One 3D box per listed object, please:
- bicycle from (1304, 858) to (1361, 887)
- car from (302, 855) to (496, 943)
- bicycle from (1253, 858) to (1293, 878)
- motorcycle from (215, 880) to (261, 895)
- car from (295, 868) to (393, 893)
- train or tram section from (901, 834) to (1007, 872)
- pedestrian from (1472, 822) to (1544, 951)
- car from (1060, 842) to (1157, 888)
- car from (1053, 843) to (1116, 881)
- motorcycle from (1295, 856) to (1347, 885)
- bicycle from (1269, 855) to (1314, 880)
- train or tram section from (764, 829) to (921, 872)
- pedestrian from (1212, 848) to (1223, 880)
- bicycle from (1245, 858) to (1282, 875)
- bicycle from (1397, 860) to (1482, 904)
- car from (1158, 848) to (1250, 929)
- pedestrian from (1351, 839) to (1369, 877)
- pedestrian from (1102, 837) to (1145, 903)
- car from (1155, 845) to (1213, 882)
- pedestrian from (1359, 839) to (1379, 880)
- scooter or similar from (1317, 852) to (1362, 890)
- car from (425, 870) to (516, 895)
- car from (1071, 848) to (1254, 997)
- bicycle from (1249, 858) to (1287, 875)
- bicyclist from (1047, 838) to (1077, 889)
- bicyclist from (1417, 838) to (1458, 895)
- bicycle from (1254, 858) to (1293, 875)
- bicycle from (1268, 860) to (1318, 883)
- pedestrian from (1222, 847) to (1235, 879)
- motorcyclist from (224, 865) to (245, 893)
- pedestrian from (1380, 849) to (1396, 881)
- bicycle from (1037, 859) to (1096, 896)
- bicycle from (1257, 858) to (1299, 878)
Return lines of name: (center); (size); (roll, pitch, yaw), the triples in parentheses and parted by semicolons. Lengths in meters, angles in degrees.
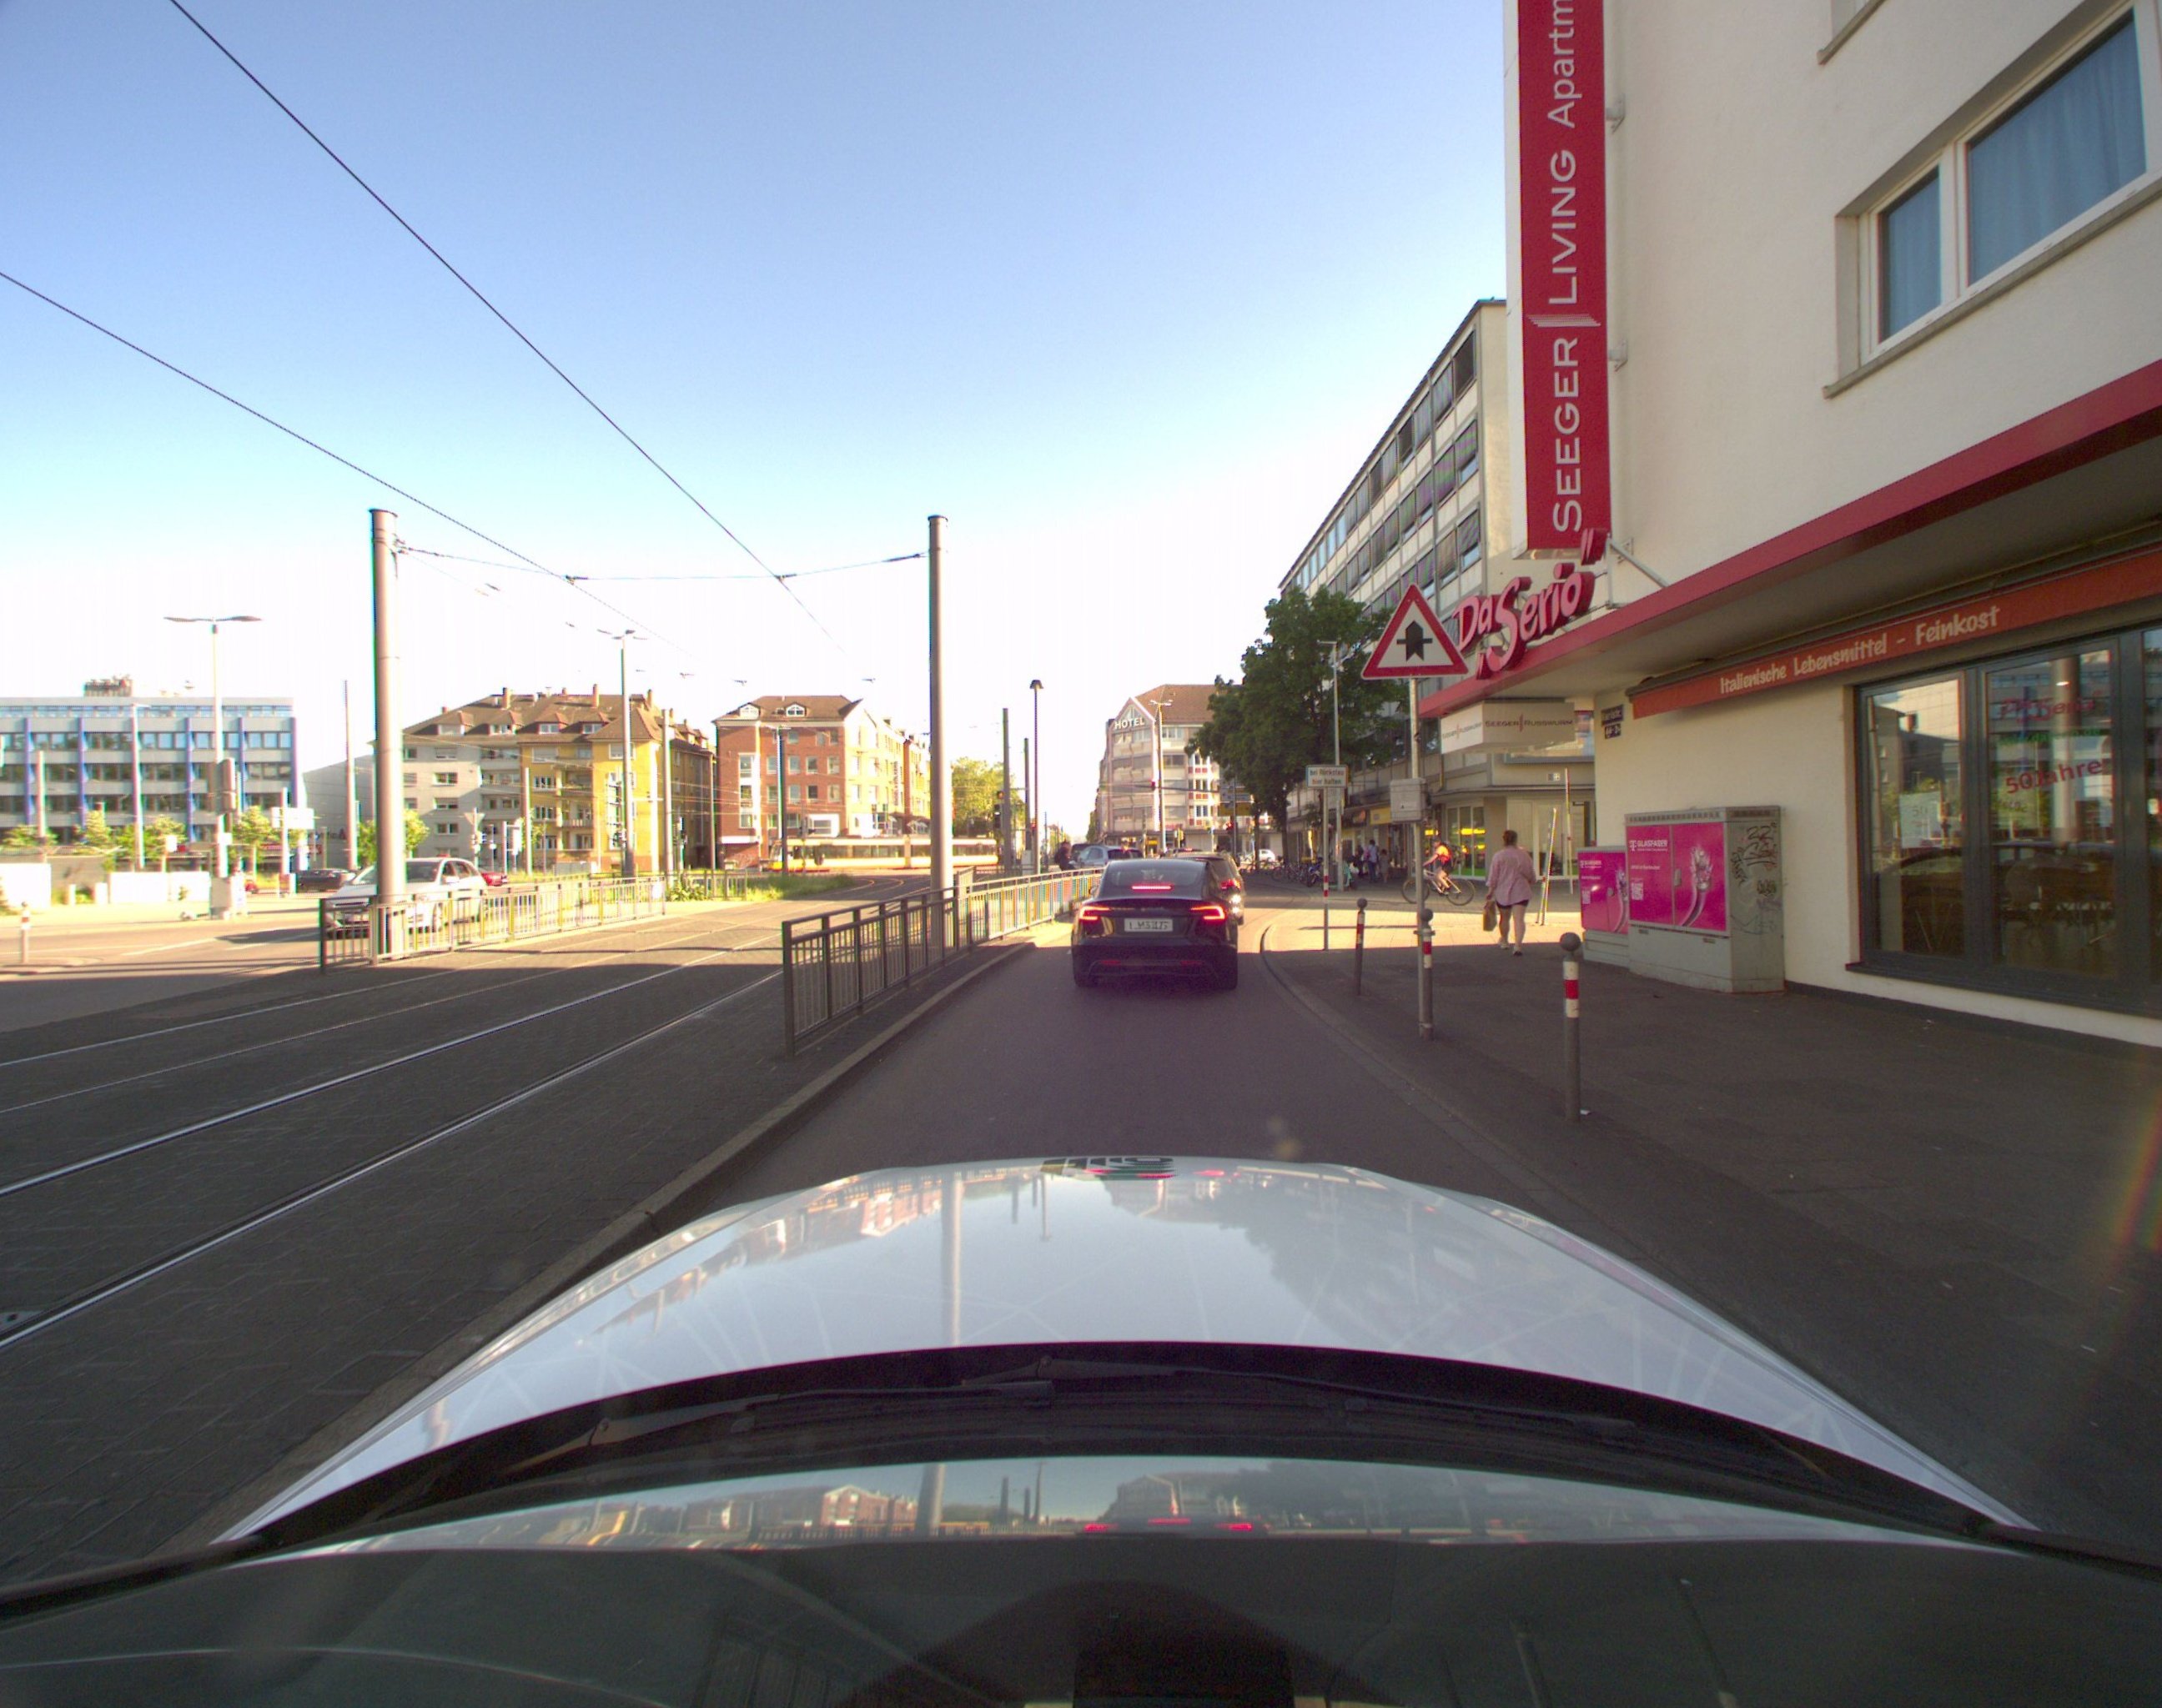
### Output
bicycle: (9.693, 0.707, 31.370); (2.044, 1.121, 0.483); (0, -1, 1)
car: (-14.356, 0.847, 17.471); (1.788, 1.568, 4.263); (-2, 1, -20)
bicycle: (9.759, 0.708, 41.466); (1.917, 0.950, 0.526); (0, 0, 1)
motorcycle: (-51.452, 2.032, 49.722); (1.997, 0.893, 0.559); (1, 0, -8)
car: (-46.045, 1.632, 50.966); (4.144, 1.490, 1.933); (0, 0, -9)
train or tram section: (-13.190, -0.055, 87.416); (2.612, 3.718, 15.477); (1, 0, 27)
pedestrian: (5.788, 0.420, 11.084); (0.810, 1.683, 0.718); (1, -1, 23)
car: (0.885, 0.369, 28.925); (1.792, 1.519, 4.184); (1, 0, -24)
car: (0.086, 0.311, 35.173); (1.826, 1.519, 4.200); (1, 0, -12)
motorcycle: (9.831, 0.669, 33.388); (1.984, 1.128, 0.596); (1, 0, 0)
bicycle: (9.665, 0.614, 37.459); (1.917, 1.097, 0.555); (0, 0, 1)
train or tram section: (-21.908, -0.214, 76.004); (14.268, 3.715, 2.651); (1, 0, -42)
pedestrian: (7.302, 0.543, 43.633); (0.559, 1.683, 0.751); (0, 0, 5)
bicycle: (9.973, 0.677, 44.604); (1.917, 0.890, 0.526); (0, 0, 1)
bicycle: (9.241, 0.695, 21.091); (1.957, 1.072, 0.778); (1, 0, 19)
car: (2.613, 0.606, 16.812); (1.643, 1.418, 4.012); (1, 1, 11)
pedestrian: (12.274, 0.193, 35.803); (0.529, 1.641, 0.607); (-2, -1, 2)
pedestrian: (1.155, 0.432, 22.150); (1.009, 1.742, 0.524); (1, -1, -25)
car: (4.469, 0.383, 35.799); (1.821, 1.519, 3.643); (1, 0, -5)
pedestrian: (11.546, 0.224, 32.654); (0.593, 1.641, 0.466); (-2, -1, 2)
scooter or similar: (9.186, 0.590, 28.955); (1.416, 1.317, 0.691); (0, -2, -25)
car: (-38.386, 1.756, 51.287); (4.144, 1.490, 1.933); (0, 0, -9)
car: (0.803, 0.698, 10.071); (1.843, 1.484, 3.786); (0, 0, -1)
bicycle: (10.009, 0.652, 43.618); (1.917, 0.890, 0.526); (0, 0, 1)
bicyclist: (-0.575, 0.290, 24.628); (0.835, 1.500, 0.558); (1, 0, -8)
bicyclist: (9.212, 0.317, 21.061); (0.900, 1.438, 0.631); (1, 0, 18)
bicycle: (10.054, 0.658, 42.585); (1.917, 0.888, 0.526); (0, 0, 1)
bicycle: (9.236, 0.764, 35.560); (2.044, 0.982, 0.483); (0, 0, 1)
pedestrian: (7.485, 0.467, 41.333); (0.626, 1.613, 0.643); (0, 0, 4)
motorcyclist: (-51.638, 1.516, 49.691); (0.781, 1.708, 0.387); (1, -1, -7)
pedestrian: (12.269, 0.438, 32.588); (0.418, 1.280, 0.531); (-2, -1, 2)
bicycle: (-0.445, 0.701, 24.595); (1.726, 1.088, 0.676); (1, 0, -8)
bicycle: (9.779, 0.705, 40.450); (1.917, 0.950, 0.526); (0, 0, 1)
